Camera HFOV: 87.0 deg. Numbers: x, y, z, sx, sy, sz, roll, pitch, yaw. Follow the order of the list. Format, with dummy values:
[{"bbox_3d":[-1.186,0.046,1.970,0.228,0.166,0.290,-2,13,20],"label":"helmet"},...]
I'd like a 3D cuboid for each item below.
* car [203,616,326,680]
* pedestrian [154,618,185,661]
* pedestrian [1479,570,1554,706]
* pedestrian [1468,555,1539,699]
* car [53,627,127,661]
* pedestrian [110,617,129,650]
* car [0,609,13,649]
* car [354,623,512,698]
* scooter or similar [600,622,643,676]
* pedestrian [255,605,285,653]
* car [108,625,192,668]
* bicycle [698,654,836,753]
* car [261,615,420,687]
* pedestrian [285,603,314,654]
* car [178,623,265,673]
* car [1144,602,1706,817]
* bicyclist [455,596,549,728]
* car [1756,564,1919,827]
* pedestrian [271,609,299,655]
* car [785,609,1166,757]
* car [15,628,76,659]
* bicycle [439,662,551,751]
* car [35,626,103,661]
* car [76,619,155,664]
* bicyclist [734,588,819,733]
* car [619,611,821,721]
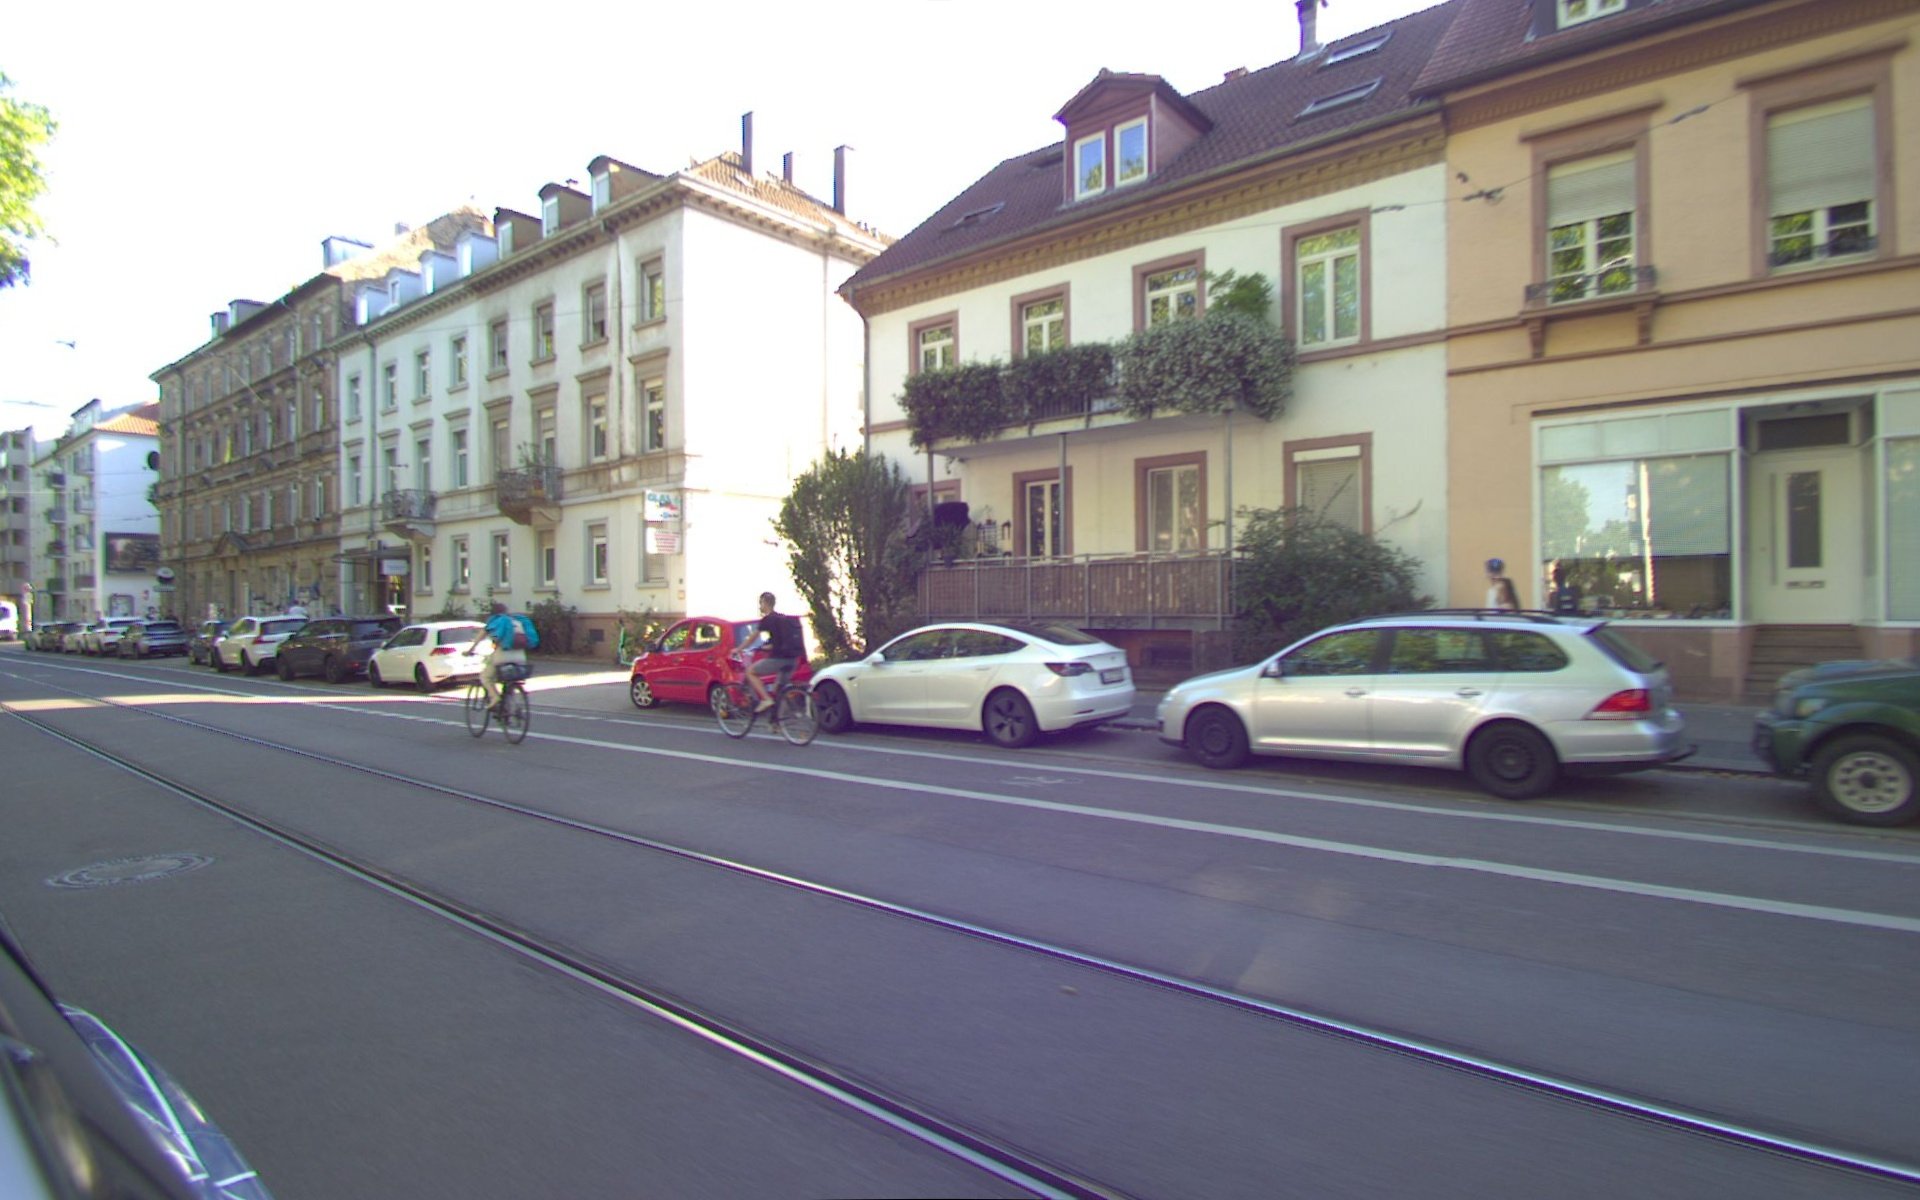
[{"bbox_3d":[-20.380,1.343,29.575,4.760,1.716,1.837,-1,-1,41],"label":"car"},{"bbox_3d":[-34.063,1.706,43.611,1.053,1.814,0.678,-1,0,31],"label":"pedestrian"},{"bbox_3d":[6.232,0.413,11.364,0.653,1.471,0.632,-1,0,24],"label":"pedestrian"},{"bbox_3d":[6.454,0.308,12.042,0.653,1.646,0.768,-1,0,24],"label":"pedestrian"},{"bbox_3d":[-39.708,1.961,46.178,3.992,1.431,1.684,-1,1,36],"label":"car"},{"bbox_3d":[-46.265,1.848,55.702,0.893,1.762,0.649,-3,-1,44],"label":"pedestrian"},{"bbox_3d":[-63.468,1.876,66.001,5.664,2.555,2.043,-1,-1,42],"label":"car"},{"bbox_3d":[-12.013,1.300,22.949,4.254,1.488,1.670,-1,0,40],"label":"car"},{"bbox_3d":[-8.489,1.205,25.323,0.441,1.290,1.577,0,-1,-41],"label":"scooter or similar"},{"bbox_3d":[-27.155,1.138,39.804,0.828,1.835,0.752,-1,-1,37],"label":"pedestrian"},{"bbox_3d":[-31.467,1.773,39.288,4.059,1.532,1.647,-1,1,38],"label":"car"},{"bbox_3d":[-2.342,1.198,12.121,2.039,1.055,0.479,-1,-3,42],"label":"bicycle"},{"bbox_3d":[-16.084,1.265,26.209,4.648,1.716,1.841,-1,-1,35],"label":"car"},{"bbox_3d":[-26.523,1.139,40.650,0.829,2.029,0.752,-1,-1,38],"label":"pedestrian"},{"bbox_3d":[-24.073,1.521,32.950,3.923,1.527,1.537,-2,-1,43],"label":"car"},{"bbox_3d":[4.139,0.838,9.434,4.445,1.514,1.809,-1,0,39],"label":"car"},{"bbox_3d":[-5.538,0.723,12.223,1.069,1.515,0.631,-1,-2,41],"label":"bicyclist"},{"bbox_3d":[7.598,0.597,6.649,3.682,1.745,1.540,-1,0,39],"label":"car"},{"bbox_3d":[-25.305,1.203,37.954,0.653,1.678,0.771,-2,0,-18],"label":"pedestrian"},{"bbox_3d":[0.059,0.924,12.811,4.682,1.514,1.810,-1,0,38],"label":"car"},{"bbox_3d":[-47.881,2.243,52.978,4.040,1.503,1.724,-1,1,39],"label":"car"},{"bbox_3d":[-5.642,1.249,12.235,1.921,0.950,0.493,-1,-3,42],"label":"bicycle"},{"bbox_3d":[-43.769,2.088,49.665,4.781,1.574,1.724,-1,1,39],"label":"car"},{"bbox_3d":[-35.792,1.718,42.856,4.715,1.736,1.768,-1,1,40],"label":"car"},{"bbox_3d":[-2.175,0.699,11.959,0.896,1.647,0.529,-1,-3,42],"label":"bicyclist"},{"bbox_3d":[-3.928,0.987,16.284,3.450,1.574,1.551,-2,-1,44],"label":"car"}]
